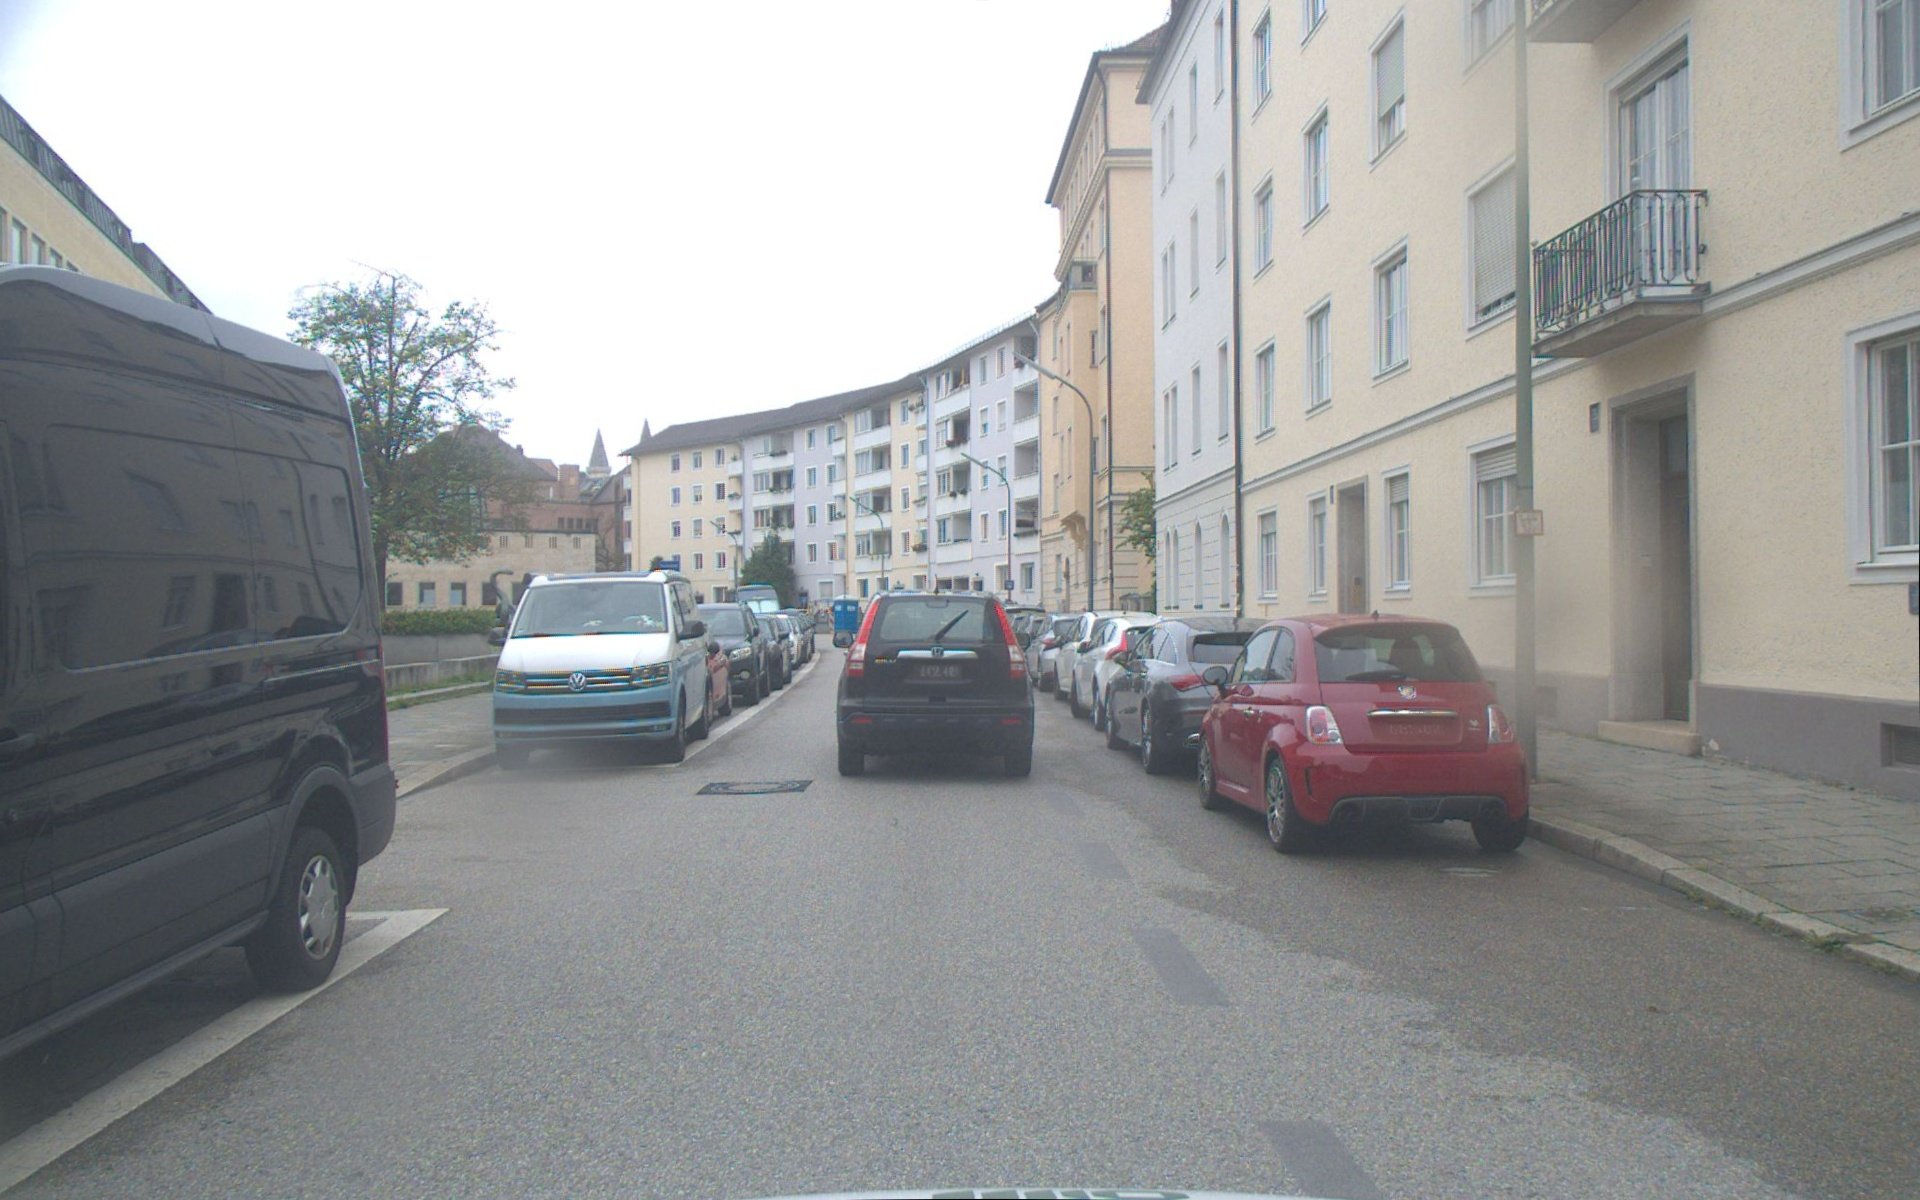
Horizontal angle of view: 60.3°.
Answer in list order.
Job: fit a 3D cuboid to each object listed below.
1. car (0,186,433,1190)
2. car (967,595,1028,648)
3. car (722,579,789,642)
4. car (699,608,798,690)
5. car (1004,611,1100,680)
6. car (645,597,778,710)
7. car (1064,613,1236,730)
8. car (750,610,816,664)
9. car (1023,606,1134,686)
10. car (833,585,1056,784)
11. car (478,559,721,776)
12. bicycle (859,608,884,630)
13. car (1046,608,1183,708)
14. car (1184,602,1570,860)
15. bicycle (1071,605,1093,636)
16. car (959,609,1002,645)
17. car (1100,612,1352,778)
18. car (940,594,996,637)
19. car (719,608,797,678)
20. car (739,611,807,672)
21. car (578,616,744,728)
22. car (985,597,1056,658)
[{"bbox_3d":[-3.705,0.255,5.161,2.250,2.692,5.652,-2,0,0],"label":"car"},{"bbox_3d":[1.262,0.742,57.514,1.831,1.747,4.863,1,0,-2],"label":"car"},{"bbox_3d":[-9.404,0.468,75.649,2.129,2.688,5.991,-2,0,-16],"label":"car"},{"bbox_3d":[-4.257,0.949,33.736,1.647,1.479,3.868,-2,0,-3],"label":"car"},{"bbox_3d":[2.008,0.980,37.193,1.646,1.452,4.388,0,0,-3],"label":"car"},{"bbox_3d":[-4.219,0.866,28.690,1.709,1.695,4.446,-4,0,-3],"label":"car"},{"bbox_3d":[2.486,0.898,22.657,1.645,1.434,4.440,0,0,-3],"label":"car"},{"bbox_3d":[-5.266,1.074,49.664,1.720,1.479,4.392,-2,0,-4],"label":"car"},{"bbox_3d":[2.271,0.860,32.622,1.646,1.452,4.164,0,0,-3],"label":"car"},{"bbox_3d":[-0.277,0.731,16.091,1.854,1.676,3.987,0,0,-5],"label":"car"},{"bbox_3d":[-3.812,0.662,18.343,1.890,2.013,5.018,-2,0,-4],"label":"car"},{"bbox_3d":[-5.688,1.210,106.166,0.953,1.413,2.551,0,0,-17],"label":"bicycle"},{"bbox_3d":[2.473,0.906,27.383,1.646,1.507,4.164,0,0,-3],"label":"car"},{"bbox_3d":[2.769,0.797,11.853,1.645,1.524,3.822,0,0,-3],"label":"car"},{"bbox_3d":[4.609,0.767,62.455,0.567,1.102,1.952,-3,0,-2],"label":"bicycle"},{"bbox_3d":[0.842,1.119,69.580,1.673,1.473,3.829,1,0,-1],"label":"car"},{"bbox_3d":[2.524,0.849,16.719,1.645,1.434,4.419,0,0,-3],"label":"car"},{"bbox_3d":[0.333,0.700,74.703,1.745,1.838,4.265,1,0,-10],"label":"car"},{"bbox_3d":[-4.706,0.966,38.974,1.624,1.479,3.970,-2,0,-5],"label":"car"},{"bbox_3d":[-4.996,1.084,44.589,1.624,1.479,4.069,-2,0,-5],"label":"car"},{"bbox_3d":[-4.069,0.937,23.080,1.708,1.411,3.917,0,0,-2],"label":"car"},{"bbox_3d":[1.694,0.777,47.649,1.688,1.663,4.455,0,0,-2],"label":"car"}]
